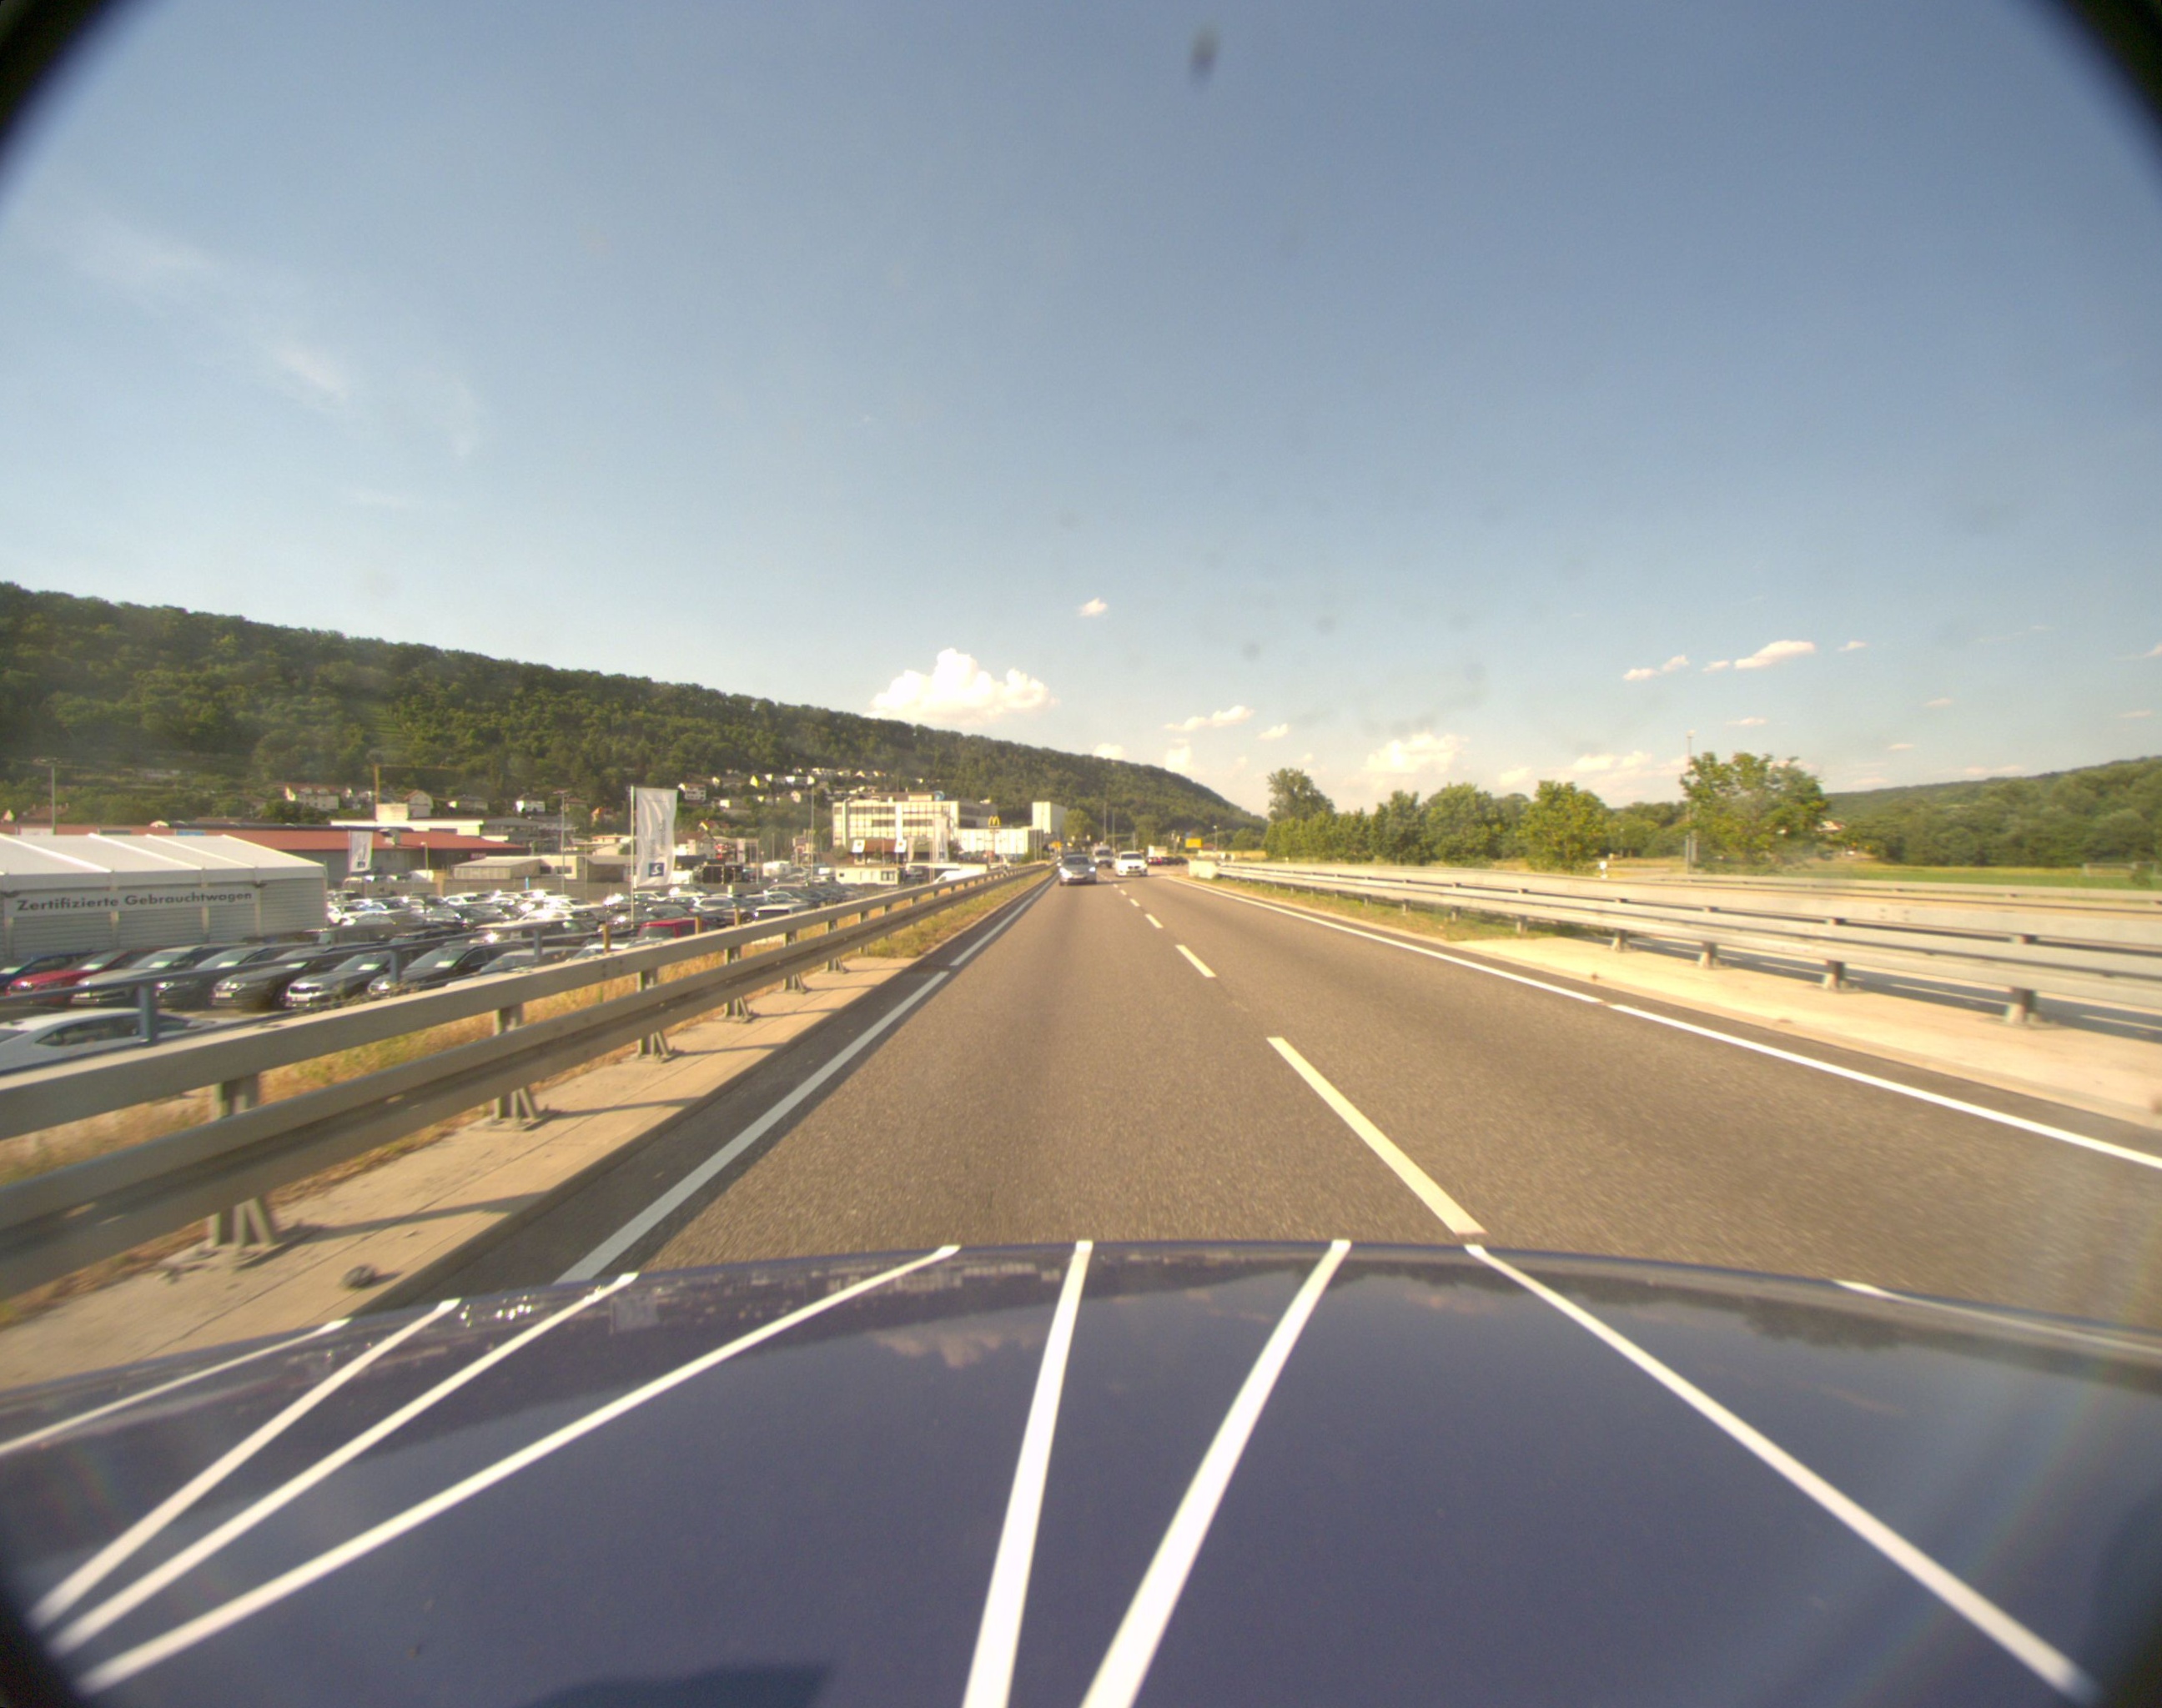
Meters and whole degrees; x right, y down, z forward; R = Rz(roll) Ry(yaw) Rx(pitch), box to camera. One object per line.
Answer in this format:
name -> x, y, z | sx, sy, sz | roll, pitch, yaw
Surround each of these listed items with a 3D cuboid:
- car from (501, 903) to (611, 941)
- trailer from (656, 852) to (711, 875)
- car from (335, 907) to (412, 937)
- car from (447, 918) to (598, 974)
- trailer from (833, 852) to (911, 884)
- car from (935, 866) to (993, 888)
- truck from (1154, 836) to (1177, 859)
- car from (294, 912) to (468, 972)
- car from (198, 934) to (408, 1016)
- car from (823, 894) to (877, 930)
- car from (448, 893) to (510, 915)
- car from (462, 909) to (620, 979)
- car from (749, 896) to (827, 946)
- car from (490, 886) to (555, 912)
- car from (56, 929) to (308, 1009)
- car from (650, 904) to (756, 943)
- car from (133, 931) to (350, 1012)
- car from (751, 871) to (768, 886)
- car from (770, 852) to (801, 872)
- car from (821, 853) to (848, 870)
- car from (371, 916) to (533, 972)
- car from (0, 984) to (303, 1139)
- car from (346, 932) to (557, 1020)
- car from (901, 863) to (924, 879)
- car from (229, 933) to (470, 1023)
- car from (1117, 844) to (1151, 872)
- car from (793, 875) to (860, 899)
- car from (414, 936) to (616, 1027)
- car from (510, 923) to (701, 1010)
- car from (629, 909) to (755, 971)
car -> -27.000, 3.504, 39.142 | 4.433, 1.627, 1.886 | -2, 2, 8
trailer -> -41.985, 0.957, 80.500 | 1.998, 2.011, 6.284 | -2, 2, 6
car -> -41.674, 3.980, 44.755 | 3.480, 1.565, 1.630 | -2, 2, 15
car -> -21.841, 3.554, 30.015 | 1.883, 1.513, 4.732 | -2, 2, 11
trailer -> -24.210, 1.592, 88.171 | 7.896, 3.304, 3.358 | -2, 2, 5
car -> -12.605, 2.461, 82.038 | 5.895, 2.002, 2.000 | -2, 2, 3
truck -> 14.966, -1.243, 135.312 | 2.940, 3.670, 10.496 | 2, 2, 1
car -> -27.142, 3.369, 29.732 | 1.883, 1.627, 4.732 | -2, 2, 11
car -> -22.865, 3.503, 22.589 | 1.778, 1.674, 4.001 | -2, 2, 7
car -> -13.447, 3.333, 44.537 | 1.741, 1.617, 4.310 | -2, 2, 0
car -> -50.643, 4.188, 63.965 | 3.959, 1.632, 1.757 | -2, 2, 8
car -> -19.994, 3.275, 28.467 | 1.883, 1.920, 4.732 | -2, 2, 11
car -> -13.130, 2.952, 34.389 | 1.885, 1.617, 4.726 | -2, 2, -4
car -> -45.925, 3.686, 62.476 | 3.994, 1.849, 1.927 | -2, 2, 8
car -> -27.606, 3.461, 23.649 | 1.883, 1.627, 4.730 | -2, 2, 6
car -> -19.001, 3.479, 38.288 | 4.433, 1.627, 1.886 | -2, 2, 8
car -> -25.062, 3.457, 22.925 | 1.778, 1.674, 4.001 | -2, 2, 7
car -> -39.285, 2.992, 92.765 | 1.683, 1.561, 3.767 | -3, 2, -25
car -> -41.187, 1.130, 106.021 | 1.759, 2.535, 5.469 | -2, 2, 4
car -> -35.723, 1.032, 110.270 | 1.759, 2.234, 5.297 | -2, 2, 4
car -> -24.705, 3.500, 30.119 | 1.883, 1.513, 4.732 | -2, 2, 11
car -> -17.353, 3.587, 13.354 | 1.882, 1.627, 4.733 | -2, 2, 15
car -> -18.006, 3.421, 22.126 | 1.884, 1.627, 4.729 | -2, 2, 4
car -> -24.058, 2.453, 108.589 | 1.759, 1.941, 4.827 | -2, 2, 4
car -> -20.341, 3.378, 21.506 | 1.883, 1.627, 4.730 | -2, 2, 6
car -> 3.269, 0.211, 47.515 | 1.825, 1.552, 3.999 | -2, 2, 1
car -> -19.636, 2.563, 58.764 | 4.433, 1.627, 1.886 | -2, 2, 8
car -> -15.808, 3.500, 21.637 | 1.884, 1.627, 4.729 | -2, 2, 4
car -> -13.160, 3.054, 21.482 | 1.883, 1.617, 4.731 | -2, 2, 8
car -> -14.434, 3.129, 28.571 | 1.883, 1.617, 4.730 | -2, 2, 6
